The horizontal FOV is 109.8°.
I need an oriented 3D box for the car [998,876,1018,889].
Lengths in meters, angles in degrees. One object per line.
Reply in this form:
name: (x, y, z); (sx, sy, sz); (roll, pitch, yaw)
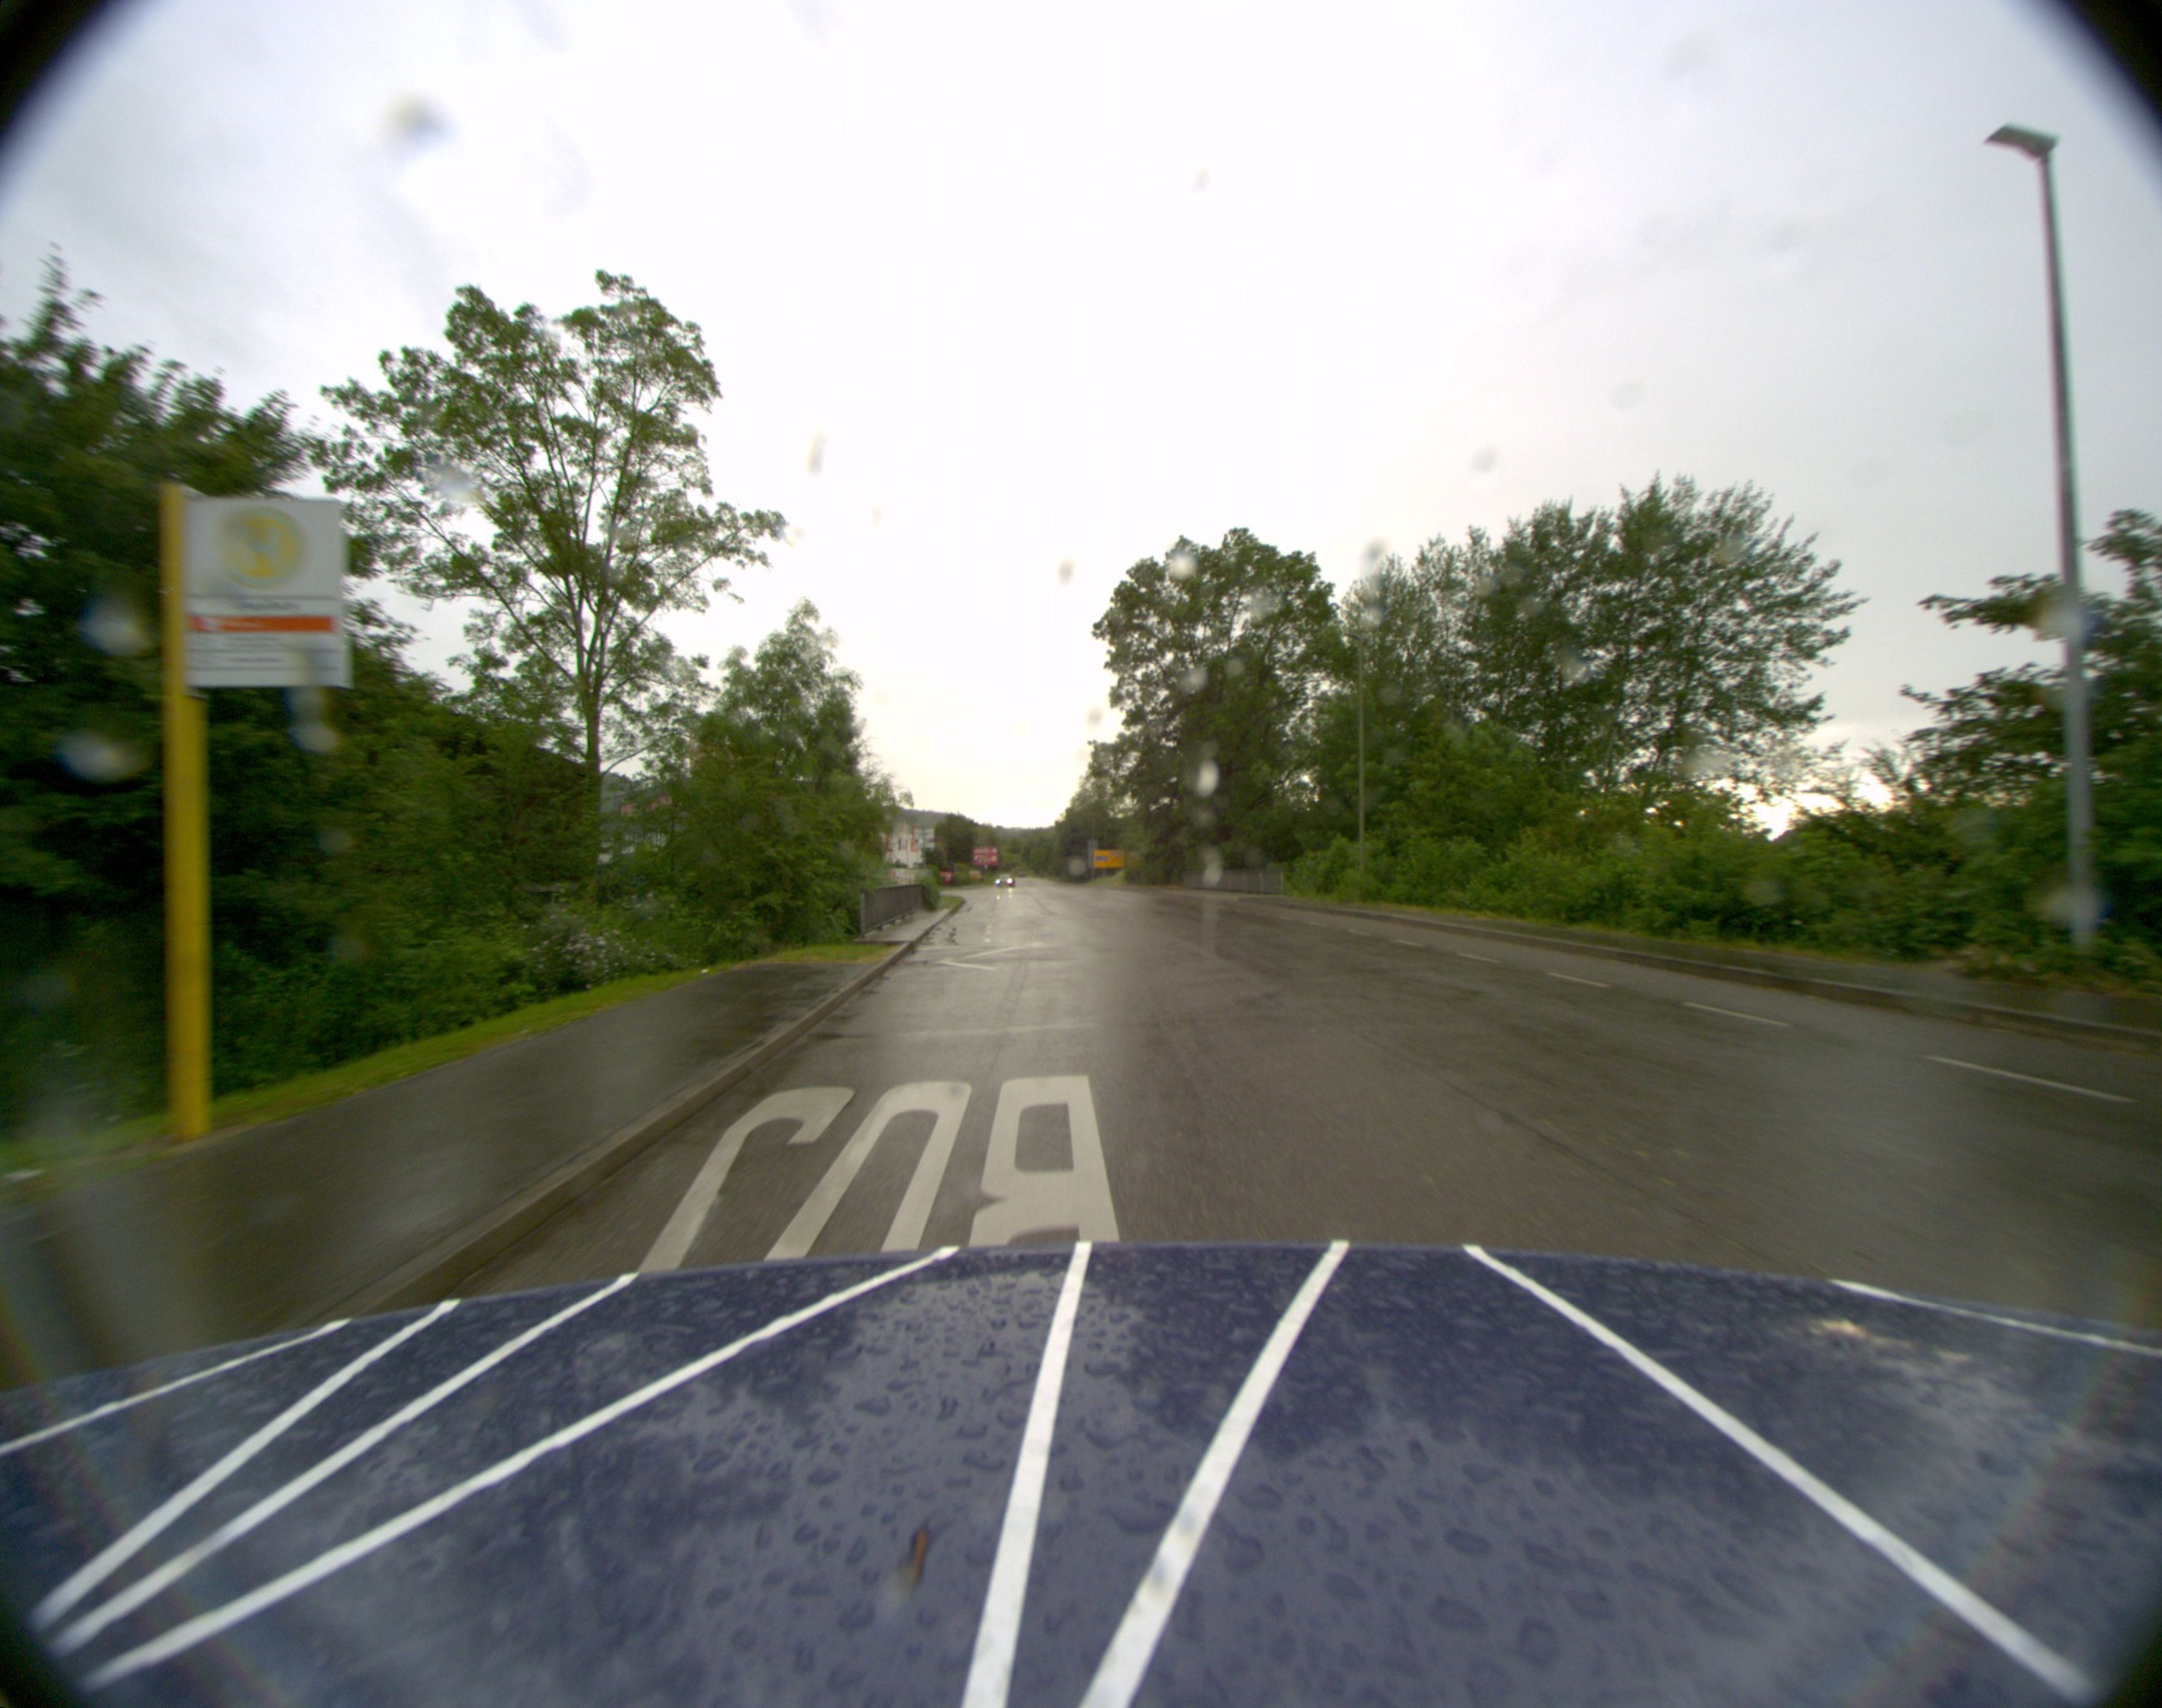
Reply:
car: (-8.409, 3.263, 87.748); (1.856, 1.481, 4.121); (-1, -1, -1)

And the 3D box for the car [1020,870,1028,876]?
car: (-14.808, 4.867, 197.085); (1.834, 1.514, 4.000); (-1, -1, -3)
